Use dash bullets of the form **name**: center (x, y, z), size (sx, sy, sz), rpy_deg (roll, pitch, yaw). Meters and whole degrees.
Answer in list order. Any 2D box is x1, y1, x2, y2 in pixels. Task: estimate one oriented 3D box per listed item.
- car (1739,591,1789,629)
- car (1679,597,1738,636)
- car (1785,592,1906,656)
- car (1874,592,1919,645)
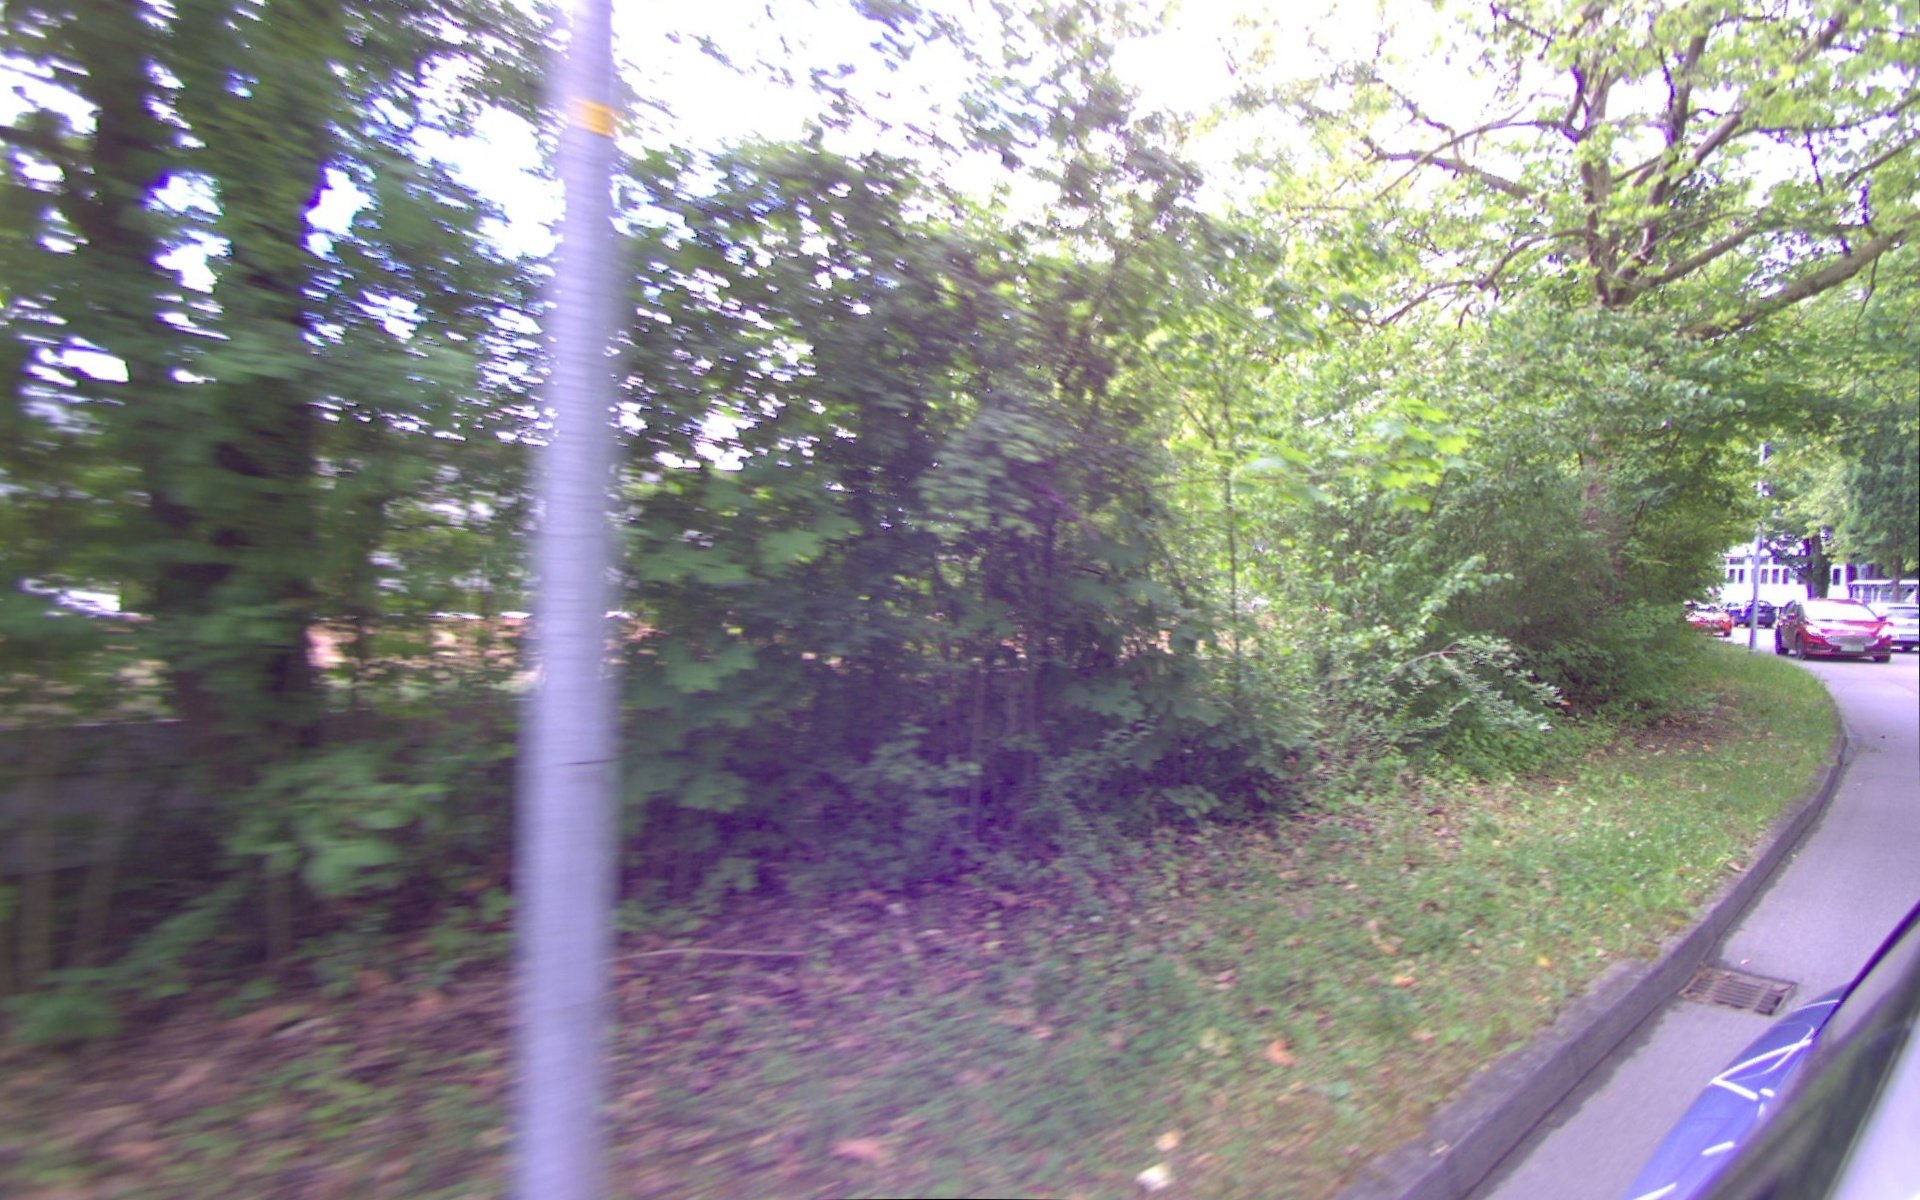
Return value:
- **car**: center (41.816, 0.488, 52.702), size (1.989, 1.899, 3.946), rpy_deg (0, 0, 38)
- **car**: center (31.937, 0.660, 43.134), size (1.939, 1.551, 4.029), rpy_deg (1, 0, 38)
- **car**: center (23.912, 0.576, 27.479), size (1.933, 1.578, 4.302), rpy_deg (1, 1, 34)
- **car**: center (29.486, 0.559, 31.150), size (1.848, 1.510, 4.020), rpy_deg (2, 1, 45)
